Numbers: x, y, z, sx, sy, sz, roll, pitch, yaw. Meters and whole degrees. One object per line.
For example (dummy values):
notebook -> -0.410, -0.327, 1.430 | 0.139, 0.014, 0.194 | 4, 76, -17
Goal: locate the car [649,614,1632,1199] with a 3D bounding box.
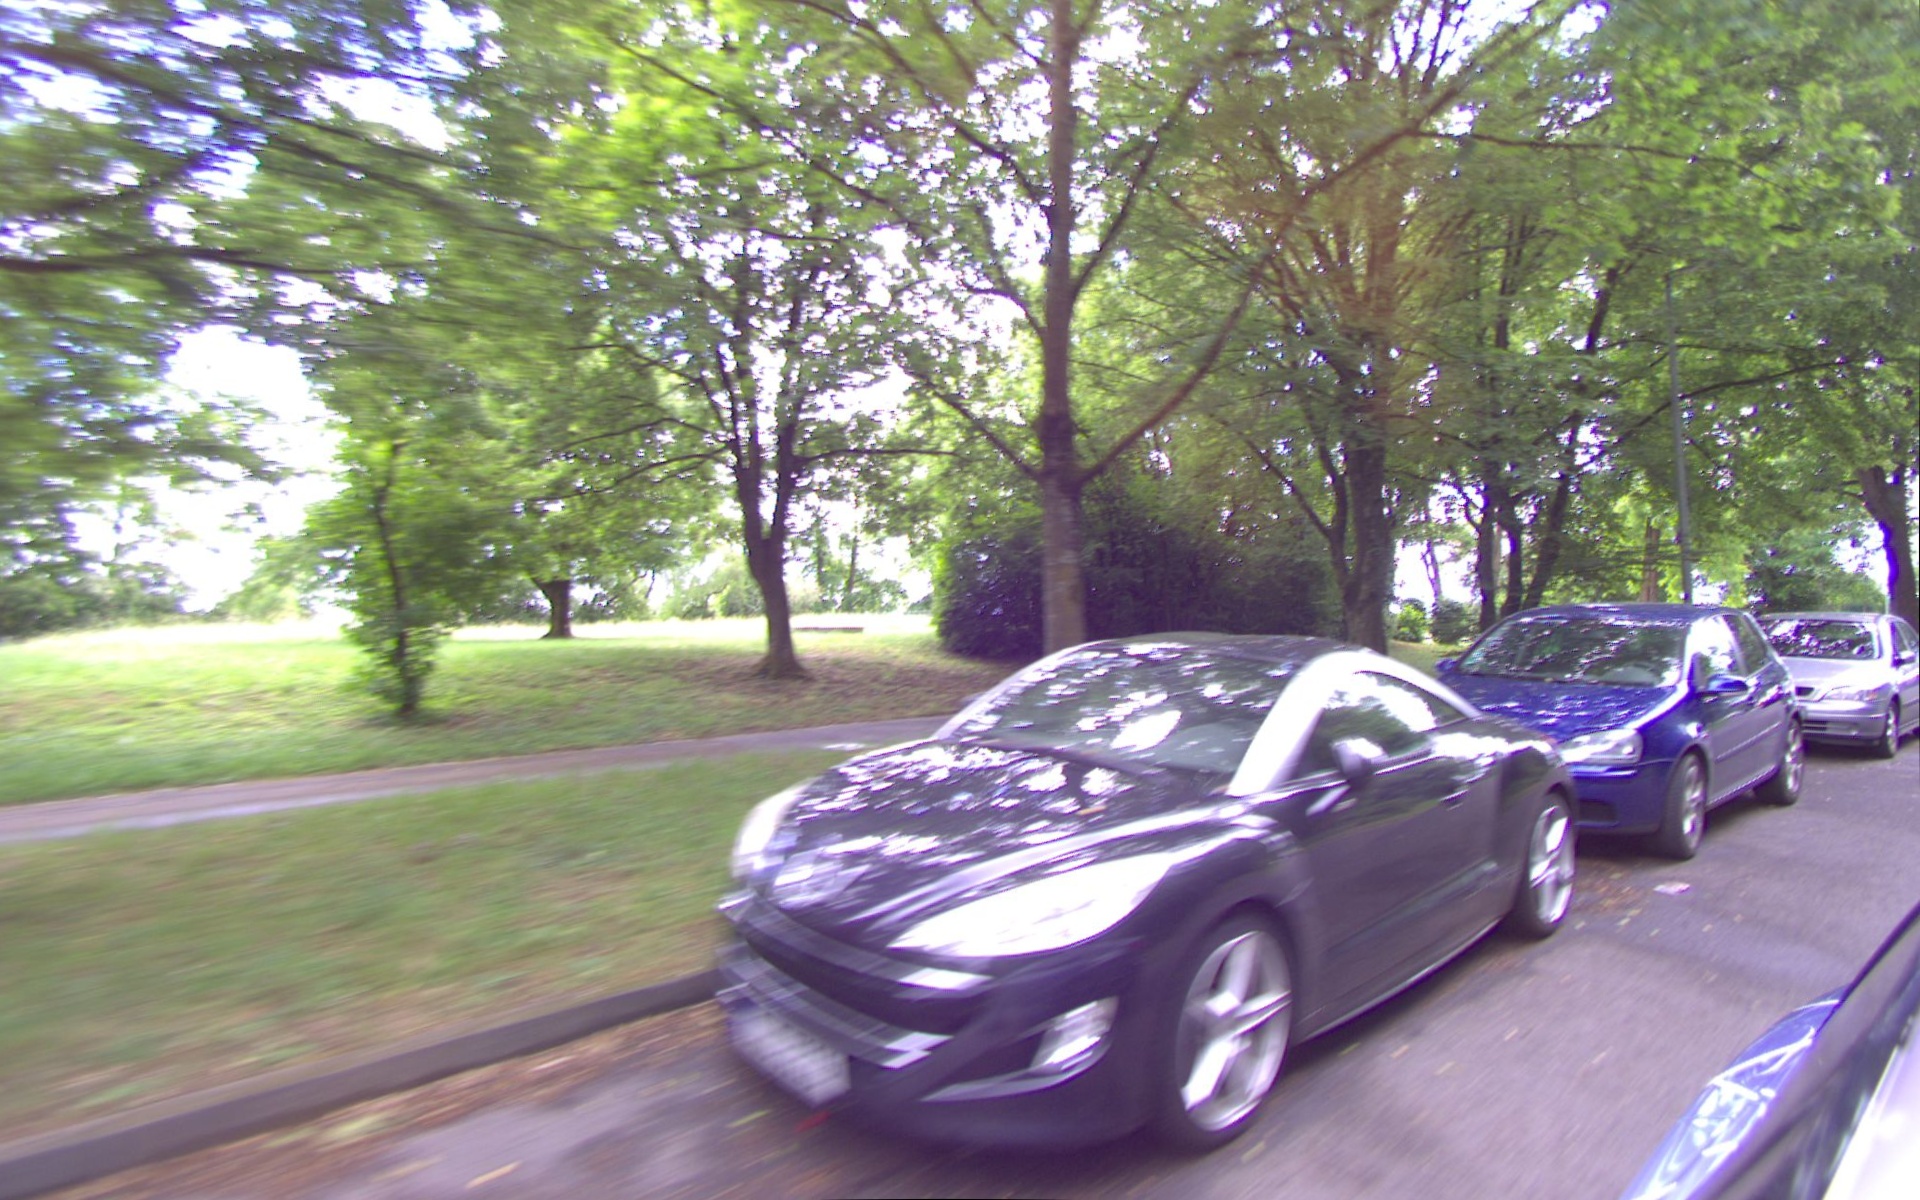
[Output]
car -> 1.139, 0.767, 4.214 | 4.340, 1.354, 1.752 | 0, -1, -42

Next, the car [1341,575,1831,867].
car -> 4.667, 0.648, 7.304 | 4.106, 1.529, 1.717 | -1, -2, -39

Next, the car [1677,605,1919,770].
car -> 9.606, 0.810, 11.189 | 3.877, 1.449, 1.722 | -1, 1, -38
